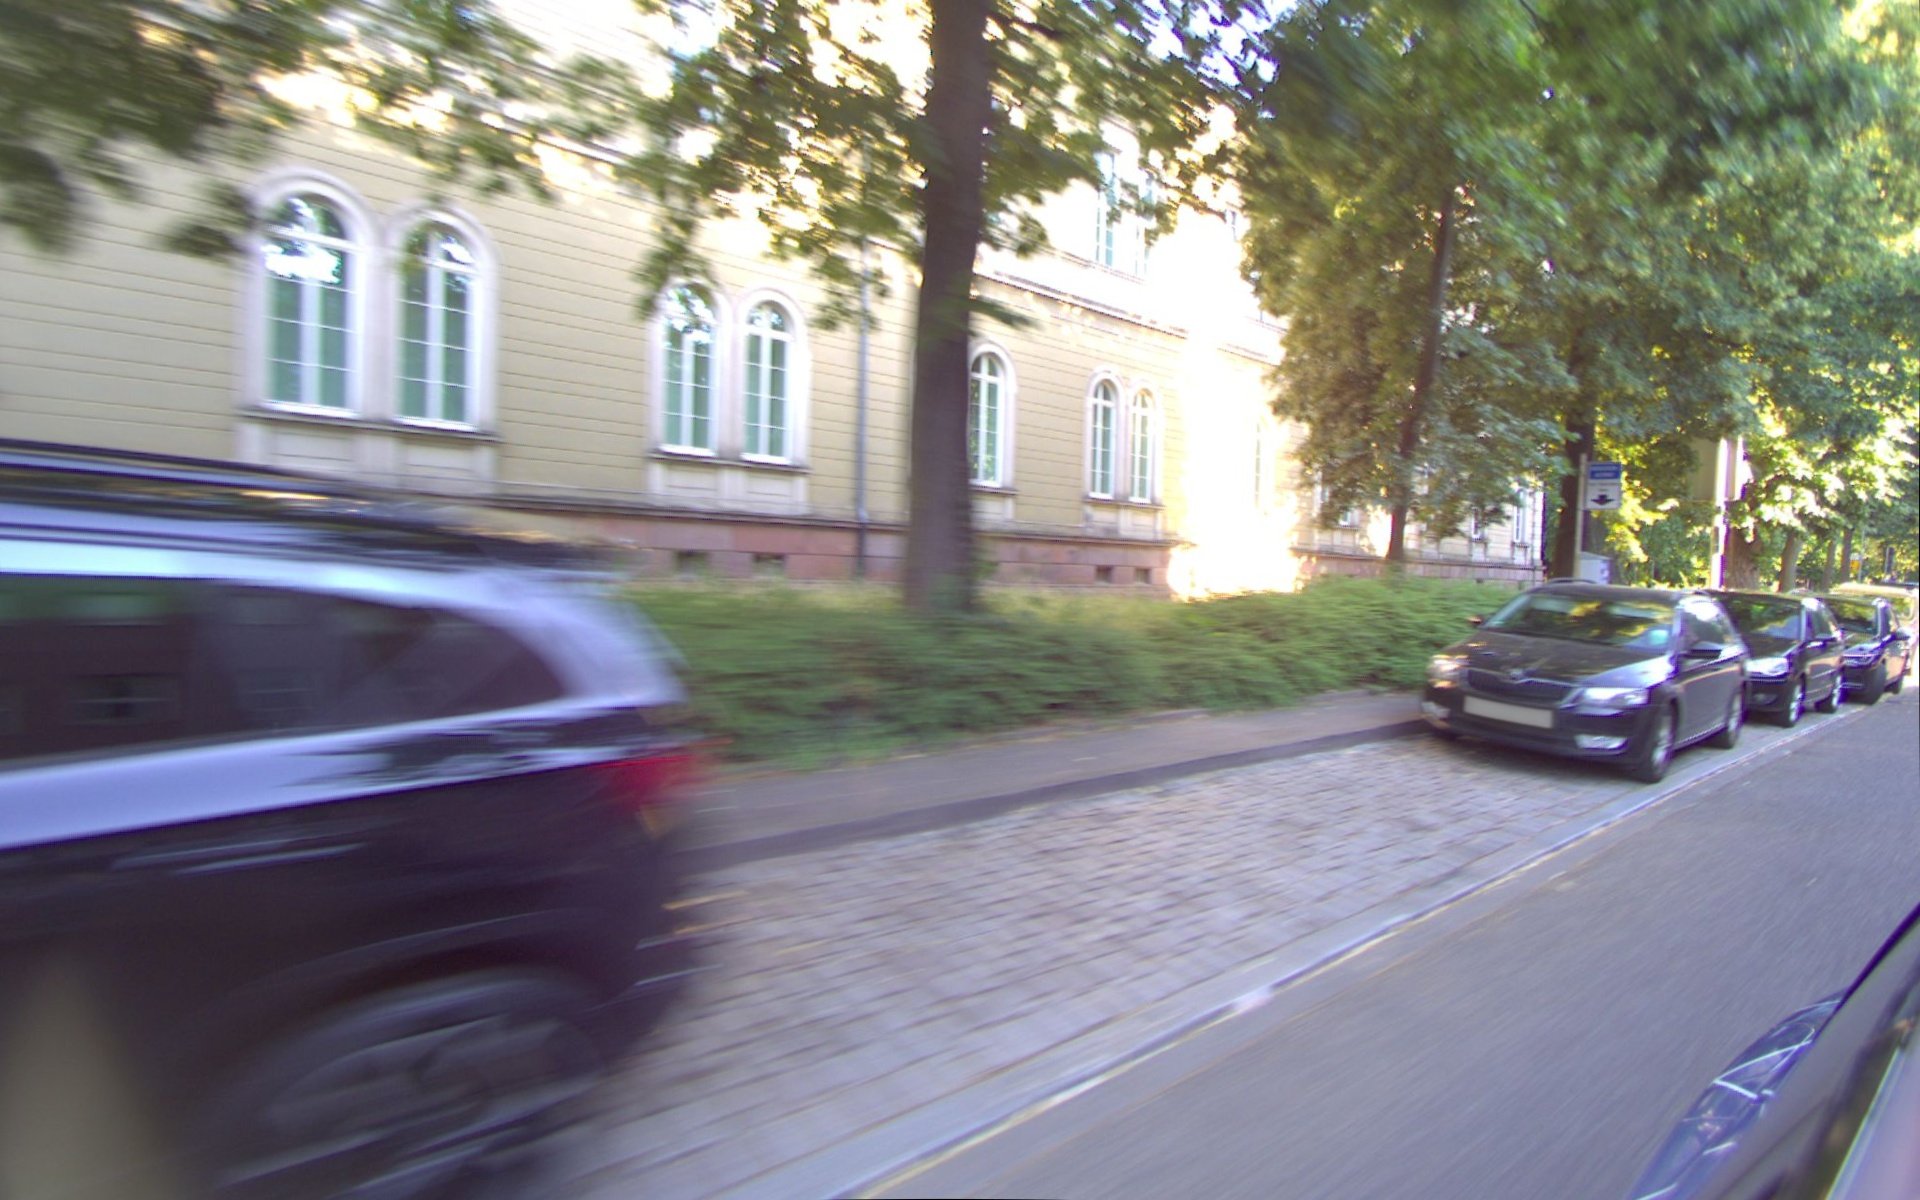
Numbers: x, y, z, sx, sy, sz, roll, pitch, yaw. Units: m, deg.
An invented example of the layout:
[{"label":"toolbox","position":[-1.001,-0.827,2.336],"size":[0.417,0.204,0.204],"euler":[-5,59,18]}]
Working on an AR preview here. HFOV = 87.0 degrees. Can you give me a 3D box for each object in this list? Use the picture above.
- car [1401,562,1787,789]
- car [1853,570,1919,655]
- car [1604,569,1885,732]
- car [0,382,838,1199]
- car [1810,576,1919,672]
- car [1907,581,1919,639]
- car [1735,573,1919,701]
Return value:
[{"label":"car","position":[5.853,0.462,9.096],"size":[4.445,1.525,1.738],"euler":[-1,4,-42]},{"label":"car","position":[23.035,0.248,24.090],"size":[4.858,1.835,1.810],"euler":[-1,3,-39]},{"label":"car","position":[9.794,0.491,12.538],"size":[4.114,1.551,1.730],"euler":[-1,7,-39]},{"label":"car","position":[-2.546,0.422,1.594],"size":[4.342,1.670,1.812],"euler":[0,6,-42]},{"label":"car","position":[18.753,0.402,20.483],"size":[4.422,1.703,1.727],"euler":[-1,4,-42]},{"label":"car","position":[30.847,0.318,31.248],"size":[4.614,1.708,1.885],"euler":[-1,4,-41]},{"label":"car","position":[13.692,0.444,15.683],"size":[4.544,1.551,1.728],"euler":[-1,8,-42]}]
